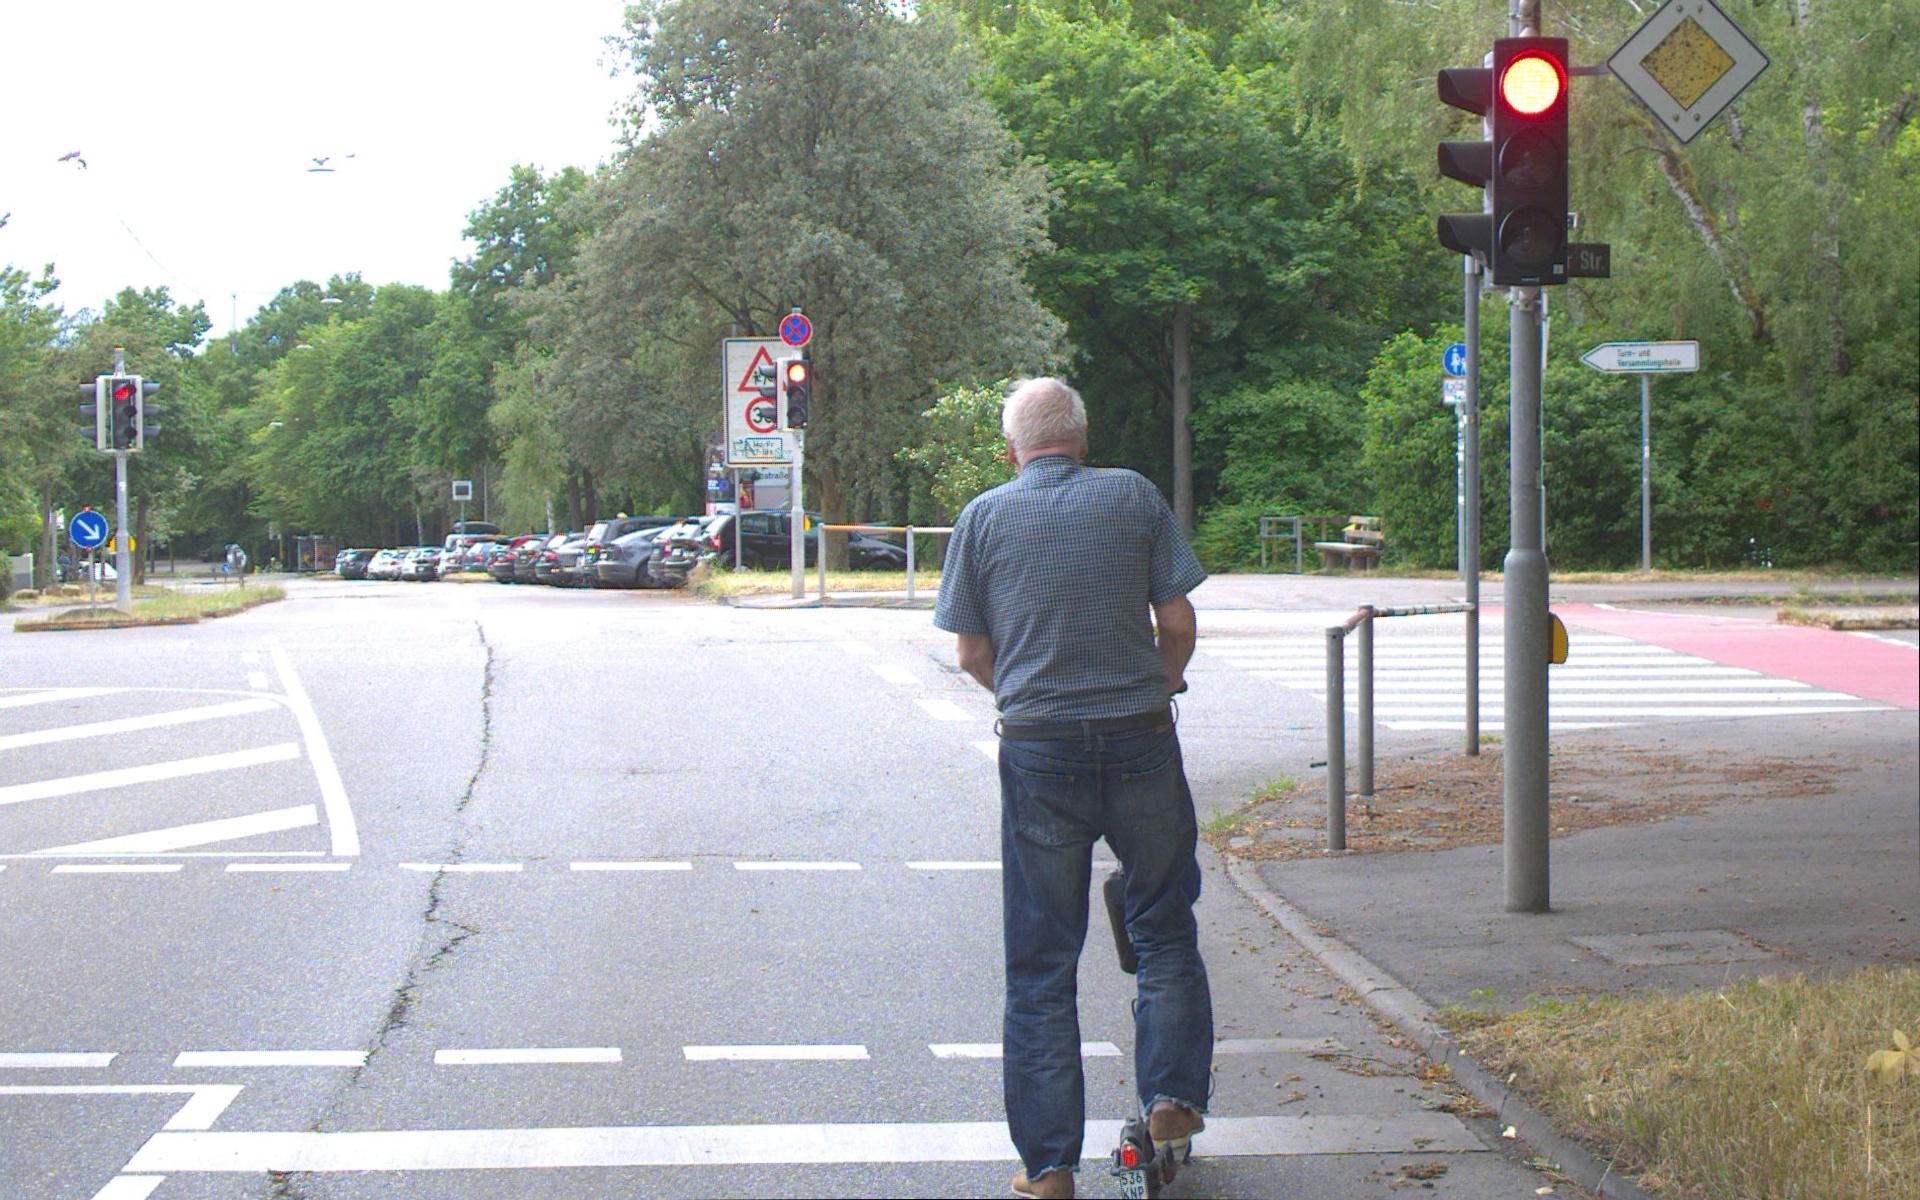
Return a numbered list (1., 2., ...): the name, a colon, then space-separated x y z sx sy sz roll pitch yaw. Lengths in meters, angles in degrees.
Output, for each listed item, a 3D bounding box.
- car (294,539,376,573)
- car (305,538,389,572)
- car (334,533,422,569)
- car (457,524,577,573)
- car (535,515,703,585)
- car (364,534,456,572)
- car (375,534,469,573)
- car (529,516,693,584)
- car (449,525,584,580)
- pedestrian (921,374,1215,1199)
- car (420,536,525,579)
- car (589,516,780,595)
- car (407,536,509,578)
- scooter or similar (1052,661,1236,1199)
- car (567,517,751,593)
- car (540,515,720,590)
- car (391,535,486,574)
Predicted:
1. car: -32.341 -2.278 177.976 3.840 1.605 1.729 -3 2 -23
2. car: -31.319 -2.306 175.637 3.840 1.605 1.729 -3 2 -23
3. car: -28.053 -2.355 165.841 3.840 1.605 1.729 -3 2 -23
4. car: -15.698 -1.831 121.893 3.840 1.605 1.729 -3 2 -23
5. car: -8.599 -1.264 86.650 3.840 1.605 1.729 -3 2 -23
6. car: -25.383 -2.187 158.776 3.840 1.605 1.729 -3 2 -23
7. car: -24.441 -2.127 156.205 3.840 1.605 1.729 -3 2 -23
8. car: -9.039 -1.309 89.062 3.840 1.605 1.729 -3 2 -23
9. car: -14.052 -1.519 108.926 3.840 1.605 1.729 -3 2 -23
10. pedestrian: 0.247 0.422 7.568 0.573 1.807 0.420 -1 1 8
11. car: -19.741 -1.723 139.095 3.840 1.605 1.729 -3 2 -23
12. car: -6.149 -0.999 76.761 3.841 1.605 1.728 -3 2 -24
13. car: -20.846 -1.804 142.770 3.840 1.605 1.729 -3 2 -23
14. scooter or similar: 0.412 0.748 7.398 0.282 1.174 1.177 -1 1 8
15. car: -6.951 -1.051 79.303 3.840 1.605 1.729 -3 2 -23
16. car: -7.813 -1.130 81.337 3.840 1.605 1.729 -3 2 -23
17. car: -23.367 -2.029 154.073 3.840 1.605 1.729 -3 2 -23
